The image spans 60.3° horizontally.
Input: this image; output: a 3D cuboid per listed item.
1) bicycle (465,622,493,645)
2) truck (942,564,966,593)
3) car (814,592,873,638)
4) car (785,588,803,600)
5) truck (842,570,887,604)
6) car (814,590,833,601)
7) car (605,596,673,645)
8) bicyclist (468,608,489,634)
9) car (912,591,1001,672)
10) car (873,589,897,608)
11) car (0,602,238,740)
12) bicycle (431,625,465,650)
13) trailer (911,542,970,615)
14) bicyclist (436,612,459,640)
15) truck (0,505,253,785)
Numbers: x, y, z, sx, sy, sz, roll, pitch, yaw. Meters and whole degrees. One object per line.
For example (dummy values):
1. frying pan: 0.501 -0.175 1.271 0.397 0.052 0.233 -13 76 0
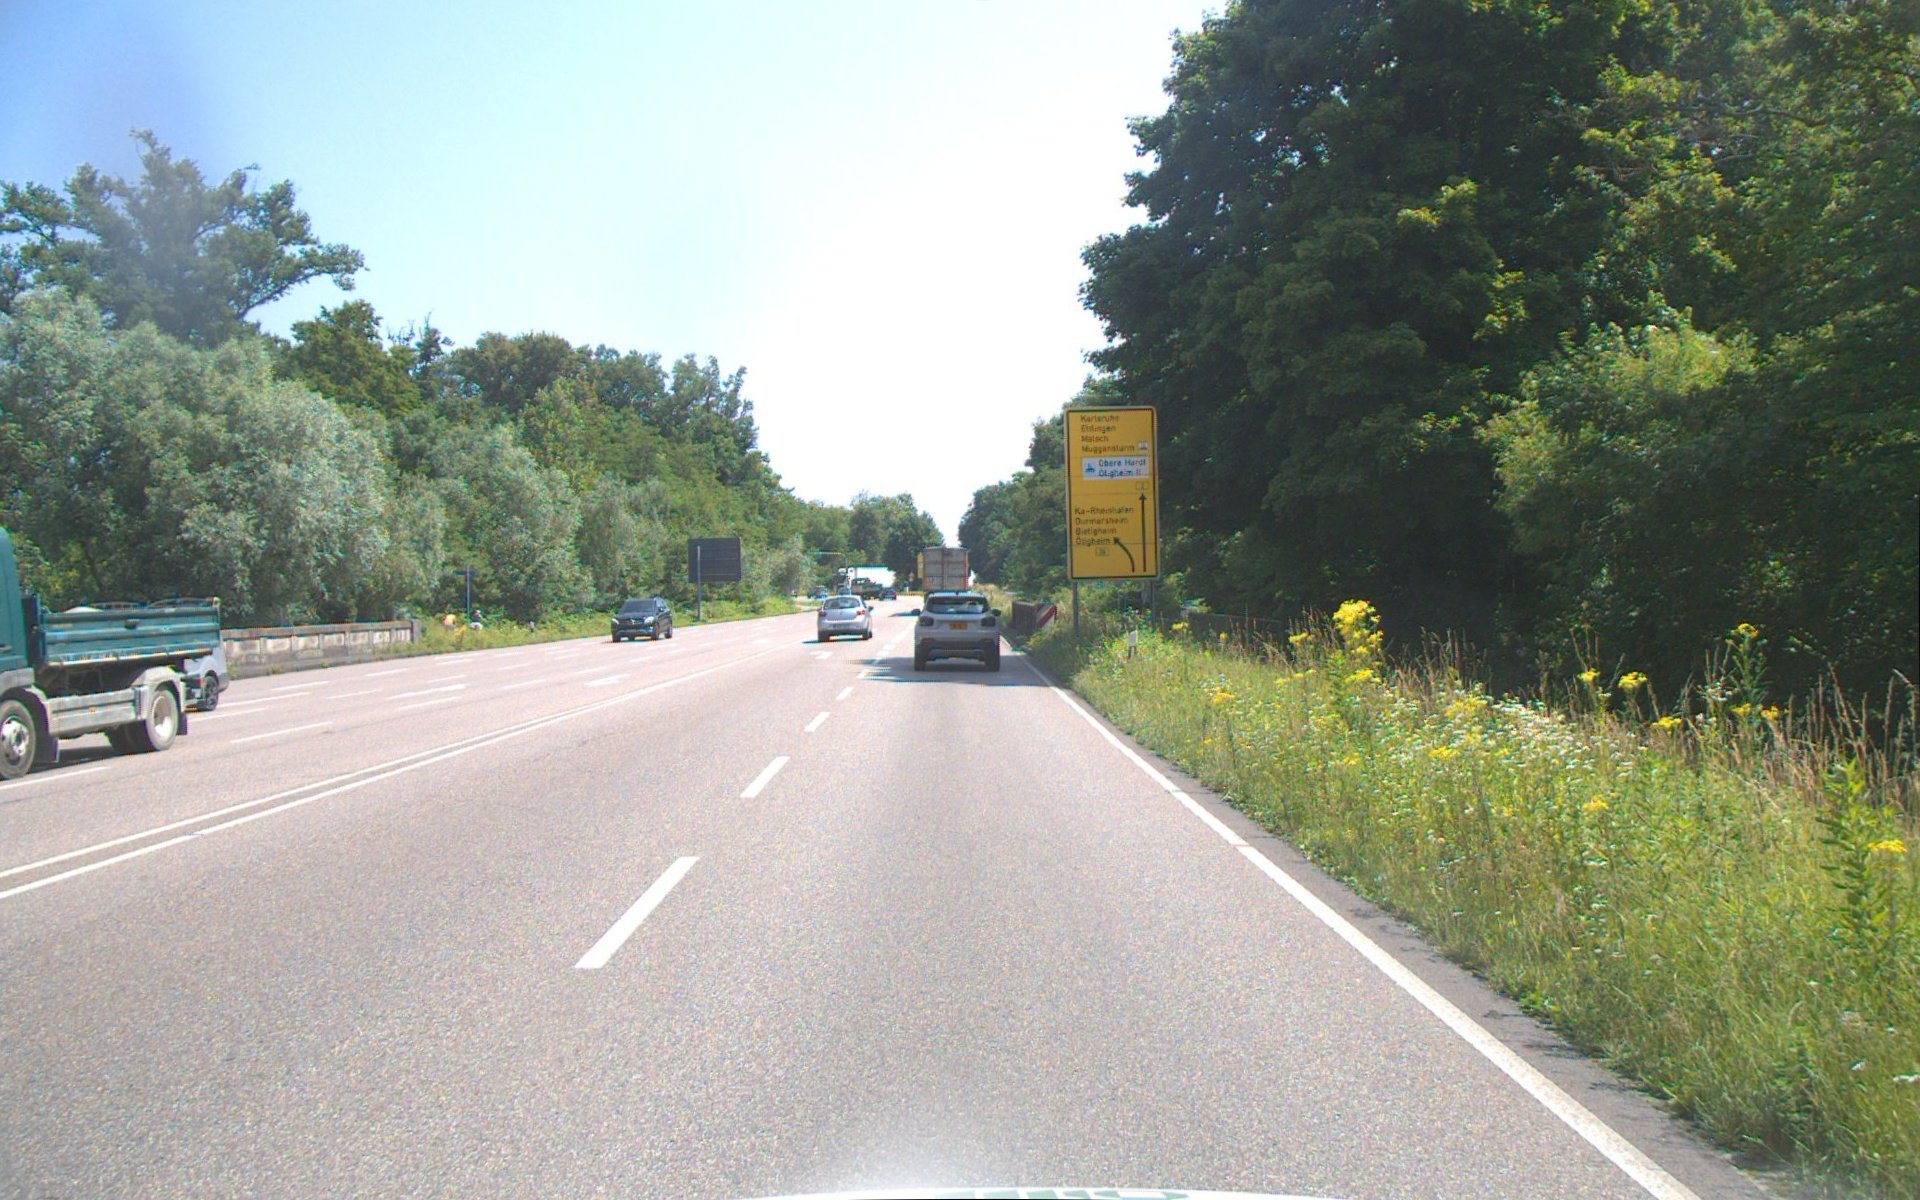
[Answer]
1. bicycle: -22.723 1.559 78.137 0.591 1.023 1.557 -3 0 11
2. truck: -0.918 -3.177 249.011 3.426 4.261 10.782 0 0 -1
3. car: -3.766 0.467 54.006 1.631 1.455 3.828 0 0 0
4. car: -23.987 -0.879 238.840 1.960 1.613 3.985 0 0 -14
5. truck: -11.869 -1.558 203.711 3.587 4.177 9.467 0 0 -16
6. car: -18.718 -0.610 226.895 1.960 1.613 3.985 0 0 -14
7. car: -13.662 0.844 70.690 1.953 1.914 4.959 -2 0 -1
8. bicyclist: -22.735 0.991 78.166 0.719 1.216 0.592 -3 0 11
9. car: -0.058 0.601 34.552 1.731 1.561 4.000 -1 0 0
10. car: -8.542 -0.185 188.031 1.958 2.049 4.541 -2 0 -11
11. car: -14.374 1.113 28.063 1.953 2.000 4.821 -4 0 1
12. bicycle: -23.107 1.703 74.649 0.661 1.022 1.802 -3 0 9
13. trailer: -1.070 -1.210 97.973 3.313 4.058 10.803 0 0 0
14. bicyclist: -23.130 1.180 74.680 0.741 1.216 0.592 -3 0 10
15. truck: -10.461 0.487 18.177 2.404 2.702 6.491 -4 0 0
